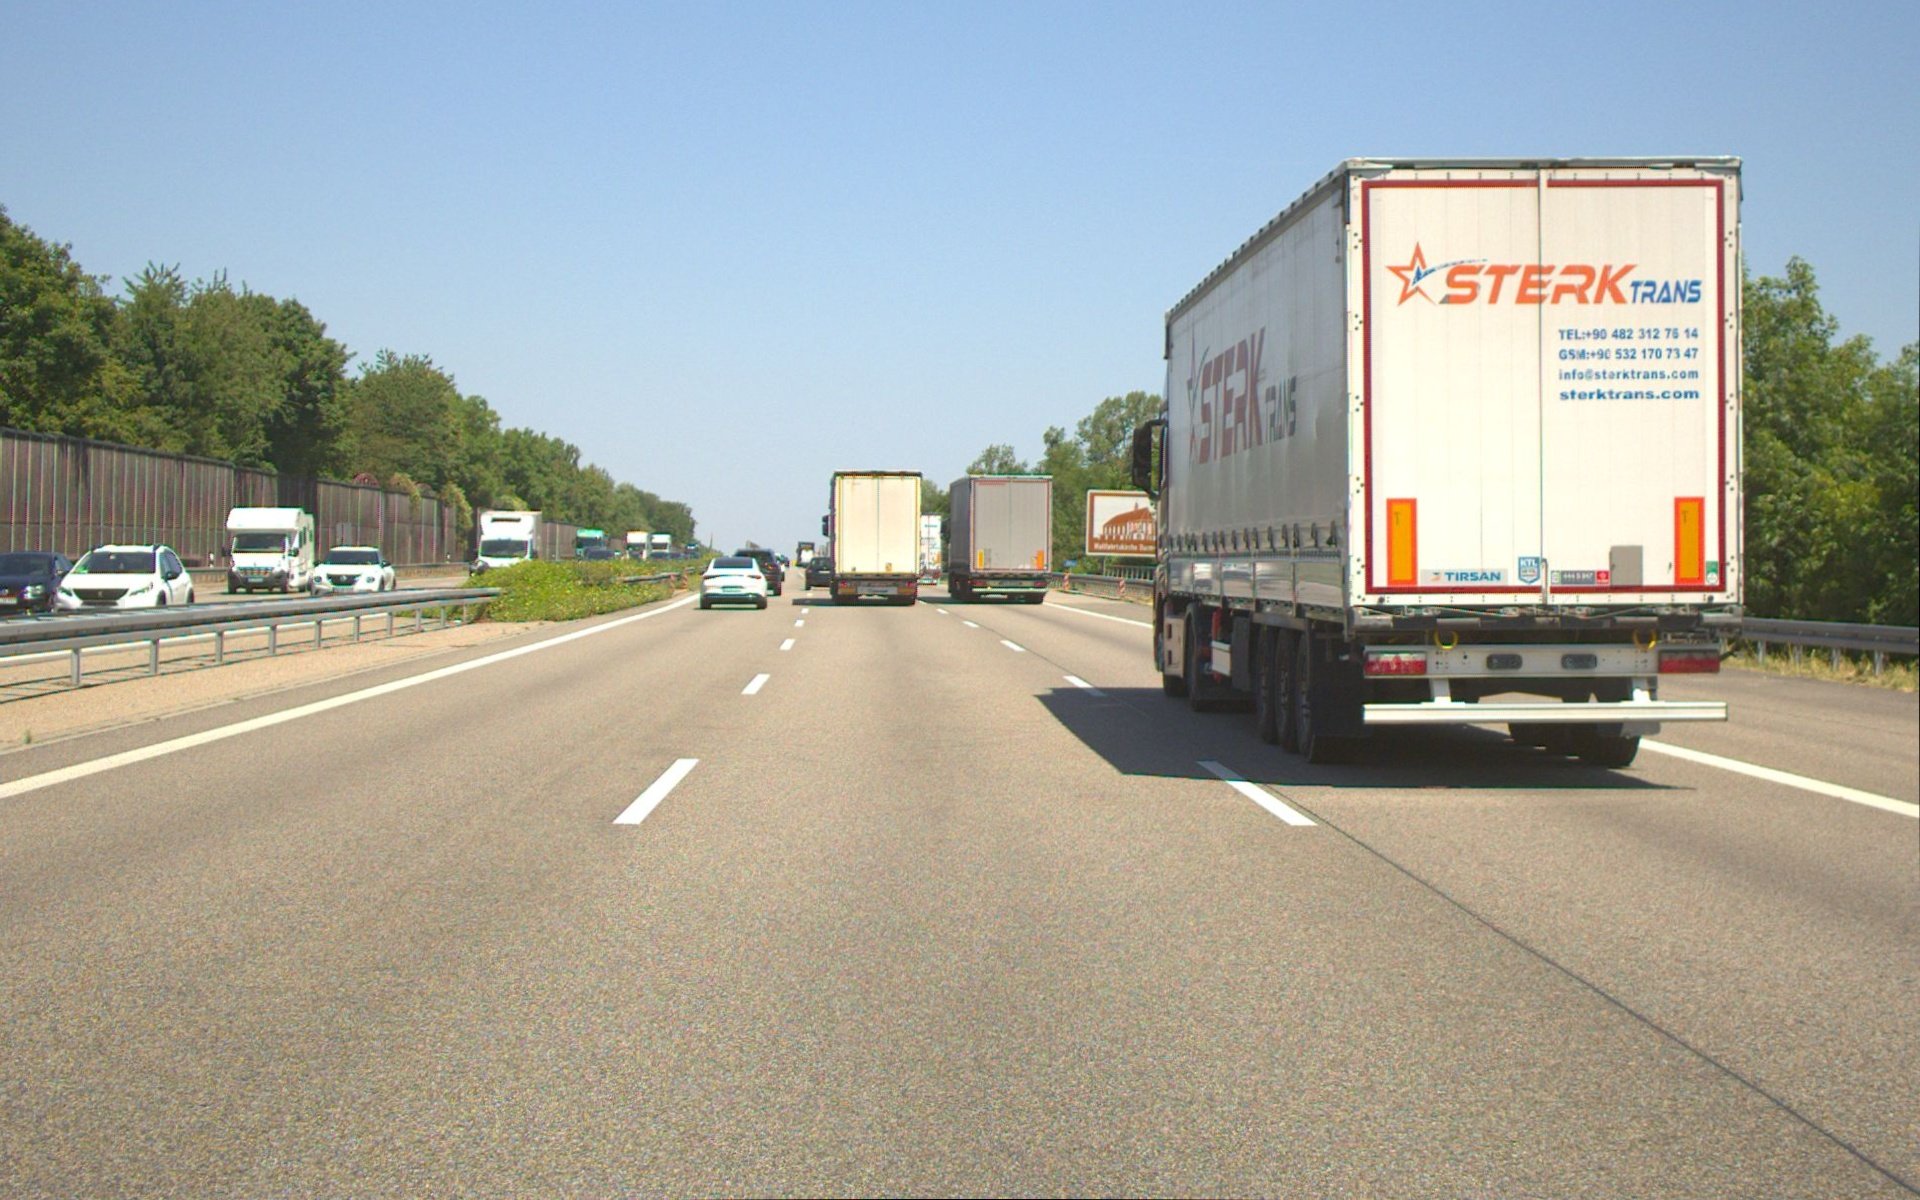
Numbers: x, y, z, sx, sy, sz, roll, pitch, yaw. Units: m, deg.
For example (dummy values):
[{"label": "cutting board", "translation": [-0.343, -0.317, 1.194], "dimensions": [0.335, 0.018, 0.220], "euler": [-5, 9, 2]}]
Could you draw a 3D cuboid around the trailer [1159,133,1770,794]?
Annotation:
[{"label": "trailer", "translation": [3.563, -0.918, 28.551], "dimensions": [2.707, 4.074, 14.152], "euler": [1, 1, -1]}]

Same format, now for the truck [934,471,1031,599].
[{"label": "truck", "translation": [0.724, -2.195, 119.036], "dimensions": [2.691, 4.201, 7.839], "euler": [2, 0, -3]}]

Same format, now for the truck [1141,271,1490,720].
[{"label": "truck", "translation": [3.450, -0.993, 35.075], "dimensions": [2.707, 4.074, 6.965], "euler": [1, 0, -1]}]

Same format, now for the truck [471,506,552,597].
[{"label": "truck", "translation": [-16.988, -1.836, 130.554], "dimensions": [2.409, 3.341, 6.920], "euler": [1, 1, -2]}]

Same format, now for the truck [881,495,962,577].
[{"label": "truck", "translation": [-2.235, -3.591, 195.200], "dimensions": [3.373, 4.289, 11.452], "euler": [4, 0, -5]}]

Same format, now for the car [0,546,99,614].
[{"label": "car", "translation": [-19.407, -0.433, 71.524], "dimensions": [1.919, 1.370, 4.582], "euler": [1, 1, -2]}]

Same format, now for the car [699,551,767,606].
[{"label": "car", "translation": [-6.372, -0.617, 96.782], "dimensions": [1.855, 1.481, 4.001], "euler": [1, 1, -3]}]

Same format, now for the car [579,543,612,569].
[{"label": "car", "translation": [-26.214, -3.125, 247.313], "dimensions": [1.993, 1.809, 5.220], "euler": [1, 0, -3]}]

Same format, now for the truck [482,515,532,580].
[{"label": "truck", "translation": [-28.667, -3.316, 217.566], "dimensions": [2.487, 4.073, 4.677], "euler": [0, 0, 1]}]

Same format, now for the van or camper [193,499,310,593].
[{"label": "van or camper", "translation": [-23.736, -1.797, 115.515], "dimensions": [2.557, 2.904, 7.376], "euler": [4, 0, -3]}]

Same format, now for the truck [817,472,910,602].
[{"label": "truck", "translation": [-3.227, -2.042, 113.123], "dimensions": [2.727, 4.072, 7.278], "euler": [2, 0, -3]}]

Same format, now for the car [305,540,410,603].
[{"label": "car", "translation": [-15.490, -0.743, 88.585], "dimensions": [1.919, 1.541, 4.582], "euler": [1, 1, -1]}]

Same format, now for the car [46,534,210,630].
[{"label": "car", "translation": [-14.073, -0.319, 58.341], "dimensions": [1.805, 1.538, 4.246], "euler": [1, 1, -1]}]

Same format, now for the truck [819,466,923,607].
[{"label": "truck", "translation": [-2.901, -1.931, 107.938], "dimensions": [2.706, 4.072, 13.475], "euler": [2, 0, -3]}]

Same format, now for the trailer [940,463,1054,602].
[{"label": "trailer", "translation": [1.092, -2.150, 112.953], "dimensions": [2.703, 4.201, 13.213], "euler": [2, 0, -3]}]

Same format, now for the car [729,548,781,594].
[{"label": "car", "translation": [-7.451, -1.071, 125.315], "dimensions": [1.855, 1.611, 4.000], "euler": [1, 1, -3]}]

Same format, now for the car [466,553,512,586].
[{"label": "car", "translation": [-23.113, -1.489, 168.943], "dimensions": [1.813, 1.594, 4.000], "euler": [1, 1, -2]}]

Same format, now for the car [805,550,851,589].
[{"label": "car", "translation": [-5.665, -1.320, 146.928], "dimensions": [1.855, 1.611, 4.001], "euler": [1, 1, -3]}]
